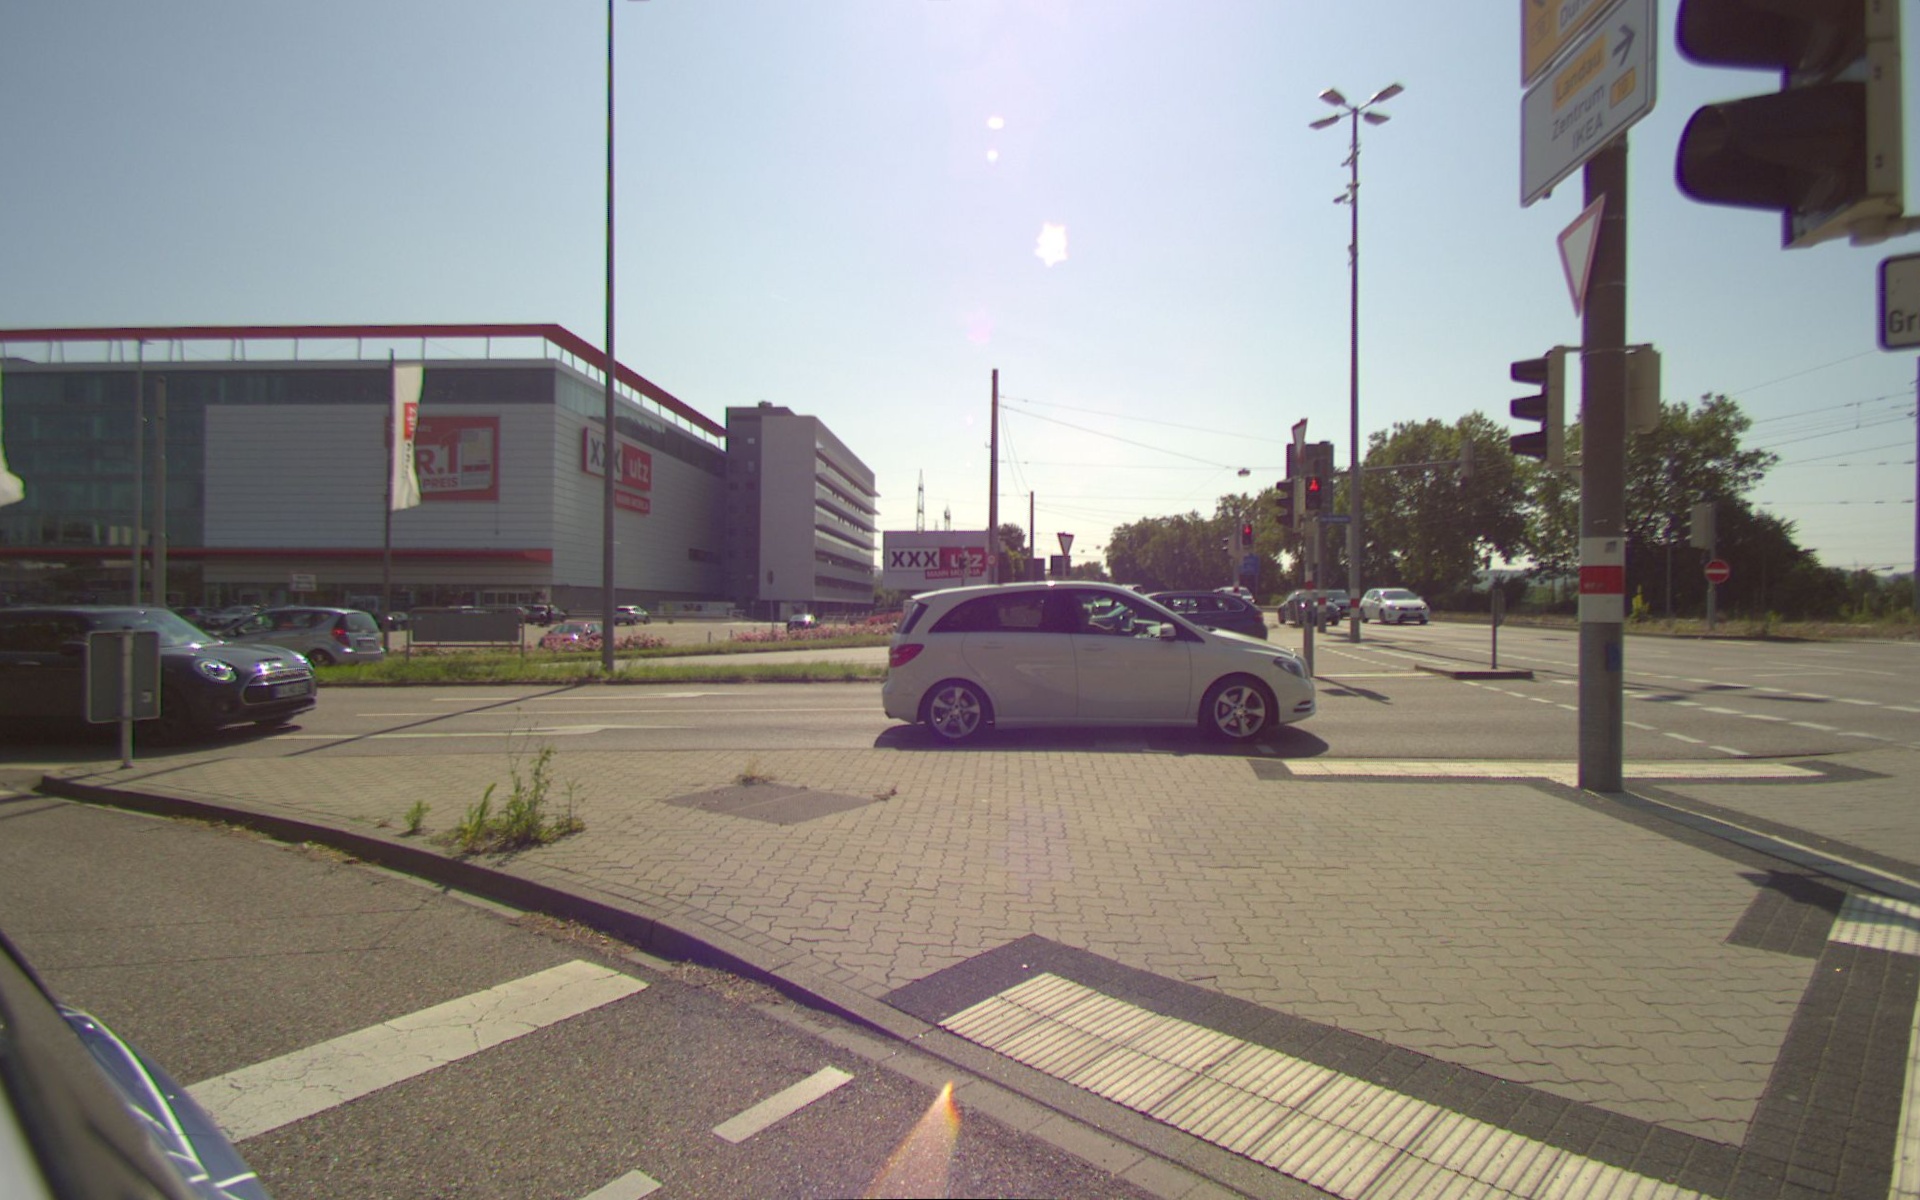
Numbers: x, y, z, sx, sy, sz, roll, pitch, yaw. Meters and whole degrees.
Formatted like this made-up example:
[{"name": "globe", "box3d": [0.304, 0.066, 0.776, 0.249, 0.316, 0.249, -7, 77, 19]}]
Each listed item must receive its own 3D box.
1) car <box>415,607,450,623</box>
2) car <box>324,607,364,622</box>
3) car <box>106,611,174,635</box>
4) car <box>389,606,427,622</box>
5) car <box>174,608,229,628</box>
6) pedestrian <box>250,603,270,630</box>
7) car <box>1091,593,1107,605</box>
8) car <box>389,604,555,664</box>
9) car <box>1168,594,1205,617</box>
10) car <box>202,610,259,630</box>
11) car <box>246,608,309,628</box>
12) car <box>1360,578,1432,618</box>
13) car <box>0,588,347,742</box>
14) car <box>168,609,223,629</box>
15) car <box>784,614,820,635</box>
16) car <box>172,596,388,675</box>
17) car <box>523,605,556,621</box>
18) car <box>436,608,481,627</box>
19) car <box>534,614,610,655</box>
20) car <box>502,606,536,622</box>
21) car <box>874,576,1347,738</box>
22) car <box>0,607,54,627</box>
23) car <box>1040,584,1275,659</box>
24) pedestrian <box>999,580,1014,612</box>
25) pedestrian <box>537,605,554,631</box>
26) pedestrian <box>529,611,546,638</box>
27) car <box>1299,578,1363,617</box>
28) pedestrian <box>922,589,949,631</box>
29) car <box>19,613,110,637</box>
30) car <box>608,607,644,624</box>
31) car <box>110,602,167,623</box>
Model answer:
[{"name": "car", "box3d": [-45.074, 1.242, 86.523, 1.348, 1.276, 3.096, 1, 0, 2]}, {"name": "car", "box3d": [-52.695, 1.240, 86.647, 1.495, 1.234, 3.096, 1, 0, 2]}, {"name": "car", "box3d": [-49.420, 1.355, 61.049, 1.495, 1.340, 3.096, 1, 0, 2]}, {"name": "car", "box3d": [-47.826, 1.193, 87.723, 1.495, 1.340, 3.096, 1, 0, 2]}, {"name": "car", "box3d": [-54.197, 1.284, 72.351, 1.495, 1.340, 3.096, 1, 0, 2]}, {"name": "pedestrian", "box3d": [-47.561, 1.125, 68.745, 0.742, 1.872, 0.855, 0, -1, 3]}, {"name": "car", "box3d": [18.723, -0.137, 136.145, 1.610, 1.637, 3.784, 0, 0, 1]}, {"name": "car", "box3d": [-8.665, 0.597, 18.051, 2.460, 1.012, 1.119, 0, -1, 5]}, {"name": "car", "box3d": [16.342, 0.382, 73.203, 1.883, 1.584, 3.834, 1, 0, 2]}, {"name": "car", "box3d": [-51.777, 1.381, 71.881, 1.567, 1.340, 3.414, 0, 0, 1]}, {"name": "car", "box3d": [-48.953, 1.287, 72.643, 1.495, 1.340, 4.312, 1, 0, 2]}, {"name": "car", "box3d": [17.681, -0.079, 41.181, 1.389, 1.511, 3.355, 1, 0, -1]}, {"name": "car", "box3d": [-9.276, 0.654, 11.066, 4.145, 1.523, 1.742, -1, 1, 3]}, {"name": "car", "box3d": [-54.366, 1.340, 72.042, 1.495, 1.340, 3.096, 1, 0, 2]}, {"name": "car", "box3d": [-10.754, 1.640, 68.932, 1.706, 1.340, 3.857, 1, 0, 2]}, {"name": "car", "box3d": [-15.488, 0.792, 23.162, 3.862, 1.637, 1.632, -1, 0, 1]}, {"name": "car", "box3d": [-36.014, 1.118, 86.686, 1.495, 1.340, 3.096, 1, 0, 2]}, {"name": "car", "box3d": [-37.116, 1.305, 75.005, 1.755, 1.340, 3.096, 1, 0, 2]}, {"name": "car", "box3d": [-16.882, 1.468, 44.260, 1.800, 1.617, 4.198, 1, 0, -2]}, {"name": "car", "box3d": [-38.128, 1.225, 87.571, 1.495, 1.340, 3.096, 1, 0, 2]}, {"name": "car", "box3d": [1.391, 0.527, 10.219, 4.330, 1.459, 1.746, -1, 0, 2]}, {"name": "car", "box3d": [-67.003, 1.211, 72.405, 1.495, 1.303, 3.095, 1, 0, 2]}, {"name": "car", "box3d": [4.199, 0.452, 22.168, 4.750, 1.514, 2.064, -1, 0, 3]}, {"name": "pedestrian", "box3d": [2.929, -0.258, 63.684, 0.907, 1.987, 0.717, 1, 0, 8]}, {"name": "pedestrian", "box3d": [-33.002, 1.418, 80.534, 0.963, 2.029, 0.948, 0, -1, 4]}, {"name": "pedestrian", "box3d": [-33.166, 1.920, 79.432, 0.963, 2.029, 0.948, -1, -1, 4]}, {"name": "car", "box3d": [15.042, -0.106, 41.189, 1.390, 1.511, 3.396, 1, 0, 1]}, {"name": "pedestrian", "box3d": [-1.027, 0.421, 42.719, 0.838, 1.720, 0.897, -1, -1, 28]}, {"name": "car", "box3d": [-54.603, 1.480, 61.824, 1.495, 1.340, 4.501, 1, 0, 2]}, {"name": "car", "box3d": [-28.338, 1.298, 85.909, 1.728, 1.340, 3.672, 1, 0, 2]}, {"name": "car", "box3d": [-64.122, 0.965, 79.057, 1.639, 1.642, 3.574, 0, 0, -2]}]
